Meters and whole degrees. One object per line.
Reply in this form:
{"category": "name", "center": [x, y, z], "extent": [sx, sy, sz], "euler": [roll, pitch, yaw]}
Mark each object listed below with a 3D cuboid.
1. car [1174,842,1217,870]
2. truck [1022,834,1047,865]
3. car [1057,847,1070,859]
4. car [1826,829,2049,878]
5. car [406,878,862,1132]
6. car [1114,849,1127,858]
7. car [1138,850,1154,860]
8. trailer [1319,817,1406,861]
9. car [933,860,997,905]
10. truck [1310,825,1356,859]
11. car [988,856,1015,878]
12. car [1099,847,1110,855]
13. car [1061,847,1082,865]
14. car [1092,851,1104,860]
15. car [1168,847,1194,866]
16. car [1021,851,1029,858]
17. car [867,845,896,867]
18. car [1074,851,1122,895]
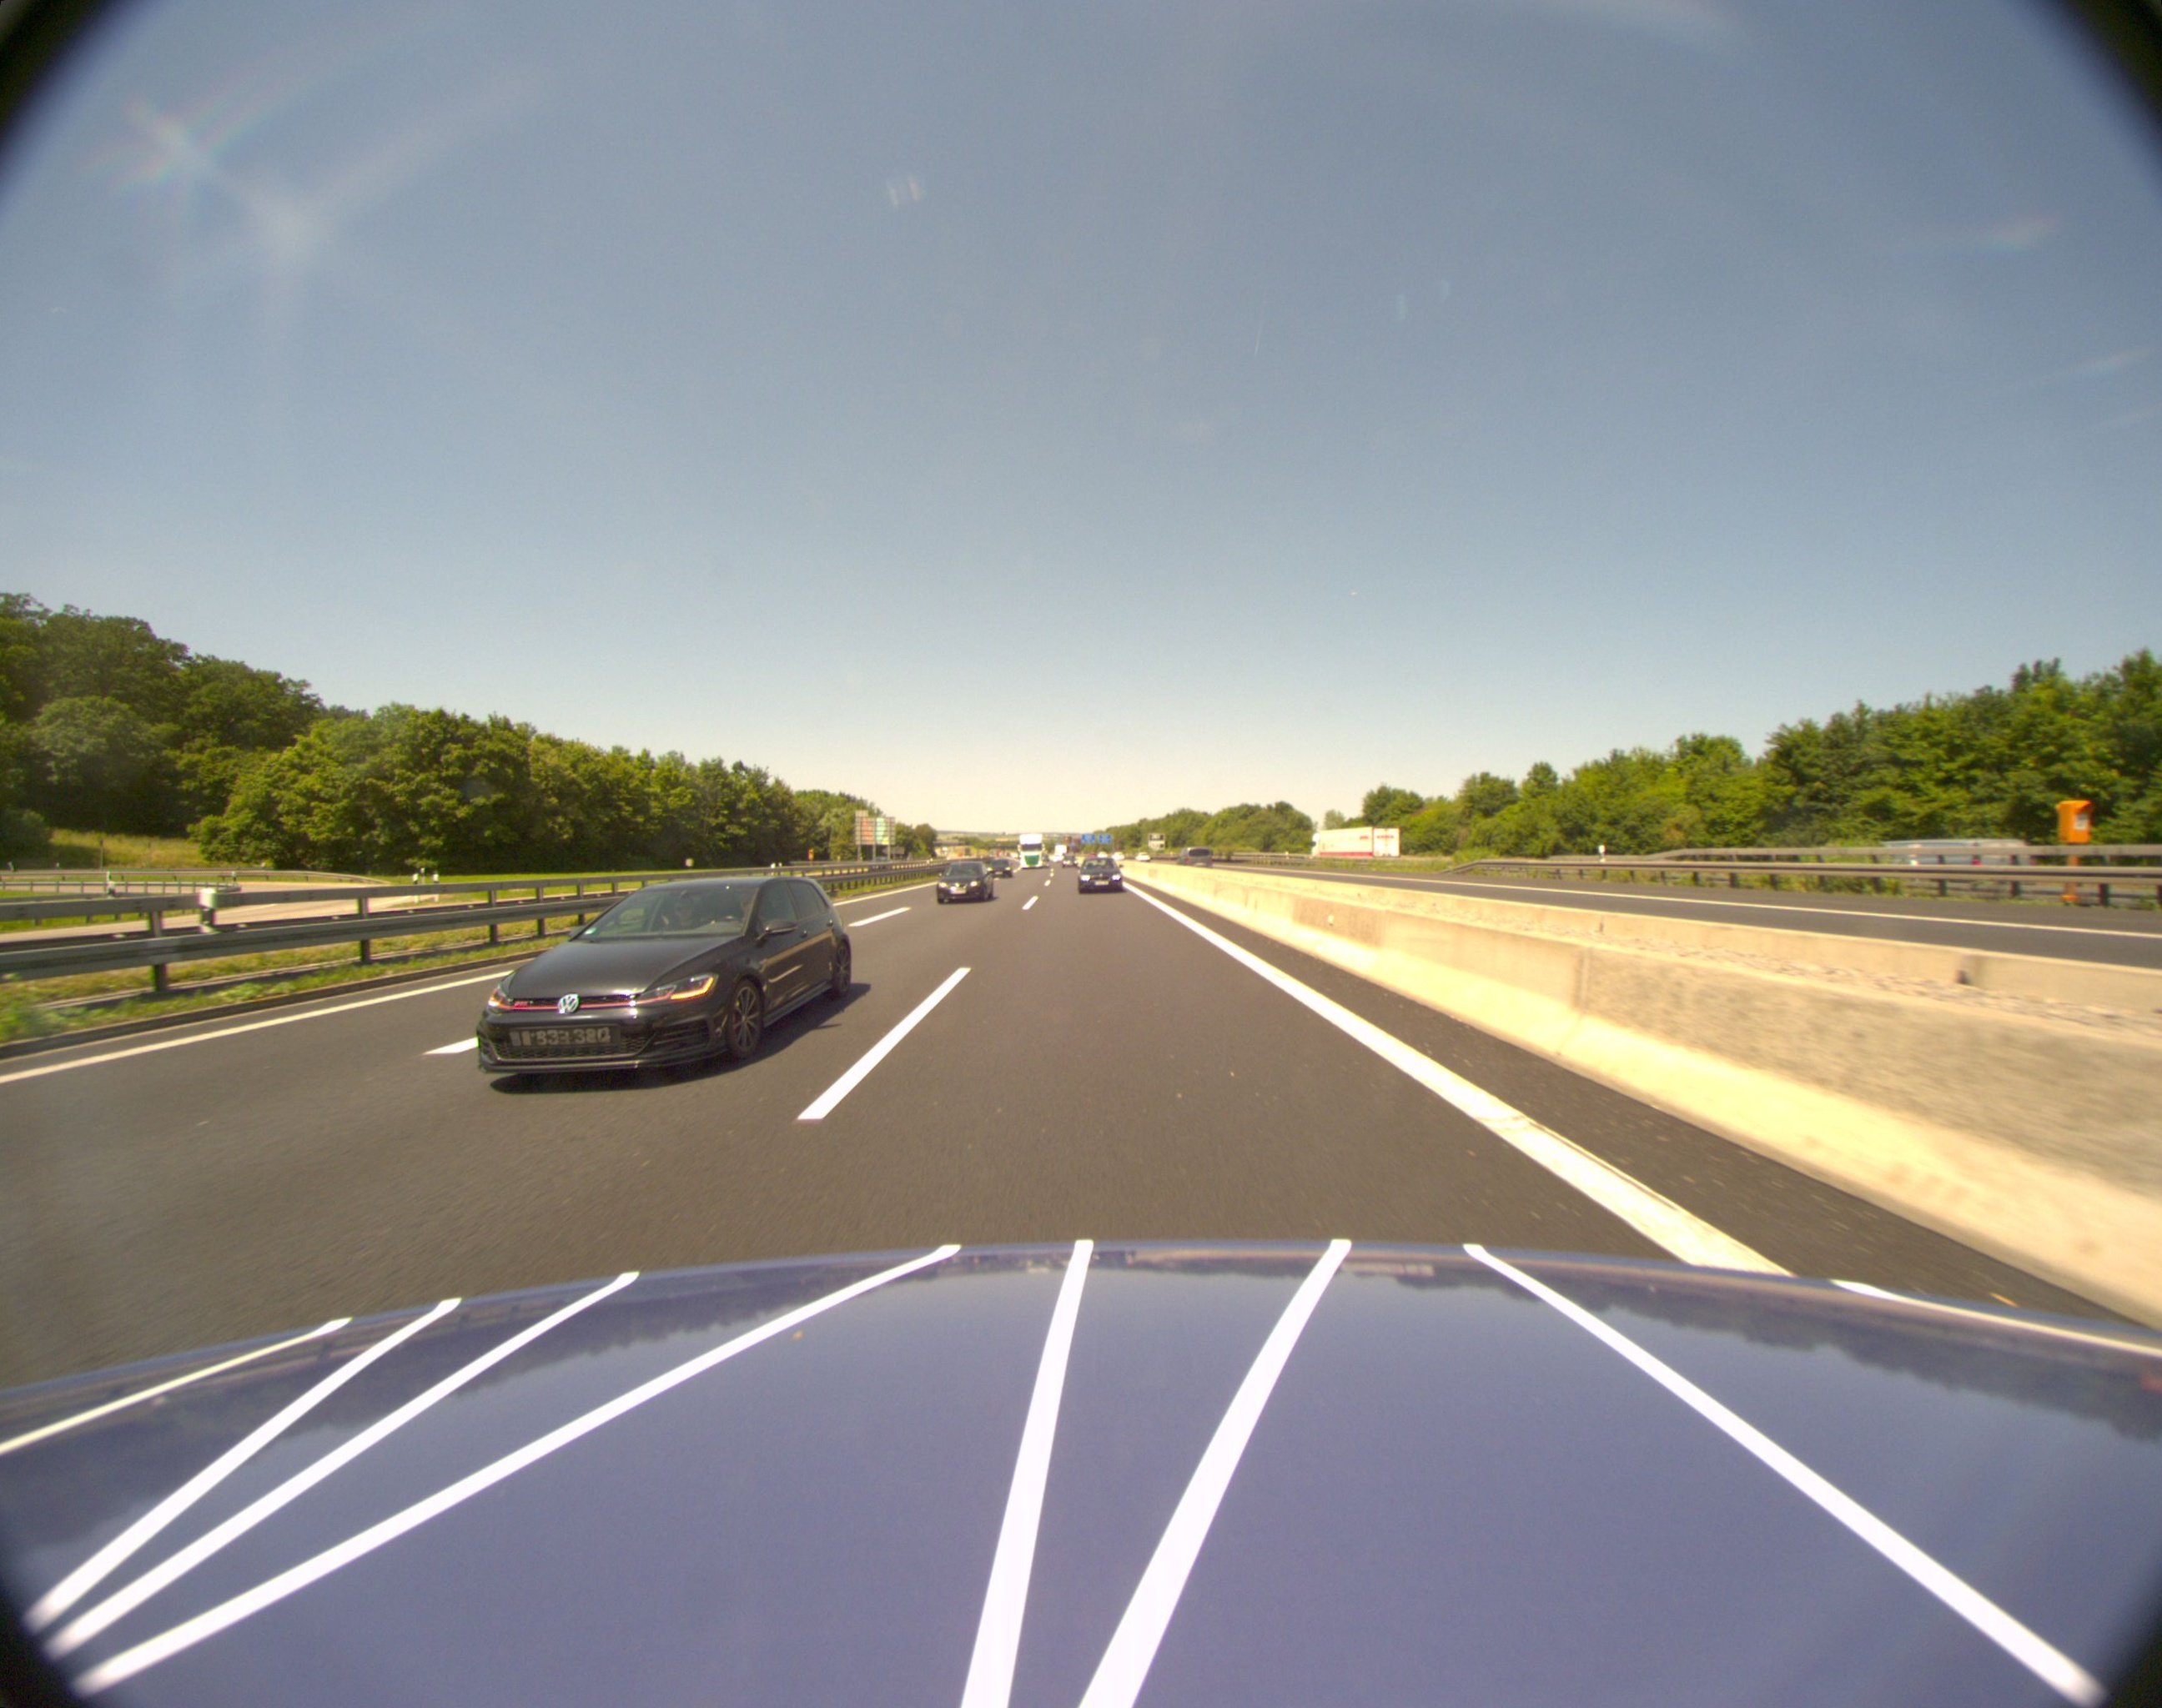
{"category": "car", "center": [8.164, 0.107, 54.555], "extent": [2.040, 1.847, 5.373], "euler": [-1, 1, -2]}
{"category": "truck", "center": [-5.430, -0.558, 89.326], "extent": [2.649, 3.572, 4.402], "euler": [-1, 1, -2]}
{"category": "car", "center": [-3.083, -0.181, 132.722], "extent": [1.925, 2.002, 3.998], "euler": [-1, 0, -5]}
{"category": "car", "center": [28.332, -0.055, 25.446], "extent": [1.998, 1.451, 4.868], "euler": [-1, 1, 0]}
{"category": "car", "center": [-3.464, 1.045, 6.916], "extent": [1.799, 1.427, 3.965], "euler": [-1, 1, -1]}
{"category": "car", "center": [7.213, -0.099, 139.074], "extent": [1.999, 1.535, 5.039], "euler": [-1, 1, -2]}
{"category": "car", "center": [9.497, 0.109, 111.968], "extent": [1.855, 1.386, 3.999], "euler": [-3, 0, -2]}
{"category": "trailer", "center": [27.998, -1.475, 76.637], "extent": [3.116, 3.974, 14.079], "euler": [-1, 1, -2]}
{"category": "car", "center": [-4.103, 0.966, 27.459], "extent": [1.781, 1.392, 3.760], "euler": [-1, 1, -1]}
{"category": "truck", "center": [27.763, -1.333, 84.016], "extent": [3.091, 3.483, 5.407], "euler": [-1, 1, -2]}
{"category": "car", "center": [-6.000, 0.961, 57.350], "extent": [1.892, 1.464, 3.864], "euler": [-2, 1, -6]}
{"category": "car", "center": [5.106, -0.745, 164.712], "extent": [1.874, 1.656, 4.661], "euler": [-2, 1, -5]}
{"category": "car", "center": [-1.083, 0.230, 89.154], "extent": [2.000, 2.002, 3.997], "euler": [-2, 1, -7]}
{"category": "car", "center": [3.337, 0.210, 150.884], "extent": [1.999, 1.649, 4.632], "euler": [-1, 1, -2]}
{"category": "car", "center": [10.302, 0.252, 78.888], "extent": [1.999, 1.814, 4.904], "euler": [-1, 1, -1]}
{"category": "car", "center": [-15.251, 0.124, 207.067], "extent": [1.999, 1.618, 3.998], "euler": [-1, 0, -4]}
{"category": "car", "center": [-18.922, 0.145, 72.278], "extent": [1.999, 2.002, 3.998], "euler": [-1, 0, -5]}
{"category": "car", "center": [0.720, 0.715, 31.016], "extent": [1.798, 1.574, 4.000], "euler": [-1, 1, 2]}
